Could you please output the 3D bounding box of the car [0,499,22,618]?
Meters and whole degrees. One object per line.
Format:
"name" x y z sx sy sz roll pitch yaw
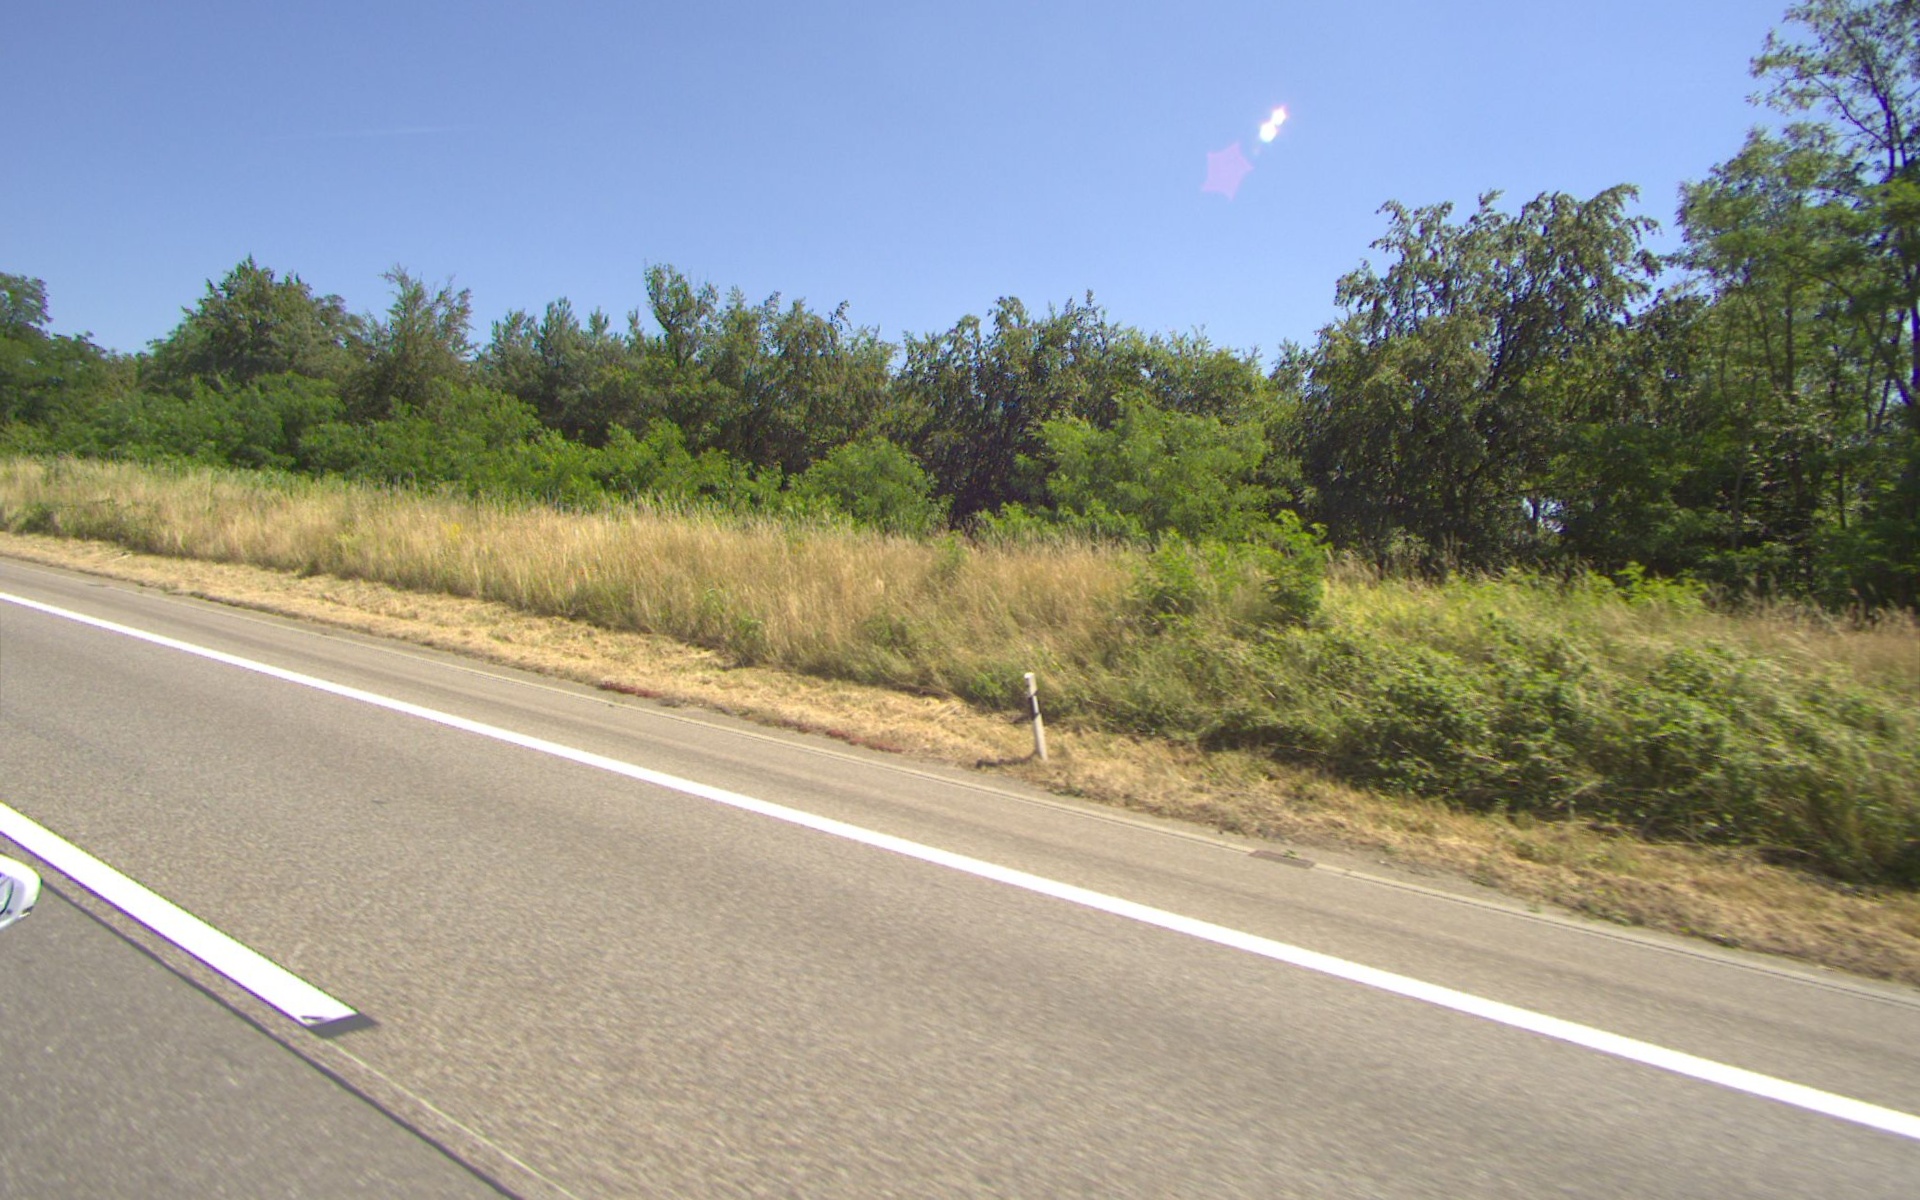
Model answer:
"car" -14.310 -0.807 13.321 3.674 1.509 1.723 8 -1 31
